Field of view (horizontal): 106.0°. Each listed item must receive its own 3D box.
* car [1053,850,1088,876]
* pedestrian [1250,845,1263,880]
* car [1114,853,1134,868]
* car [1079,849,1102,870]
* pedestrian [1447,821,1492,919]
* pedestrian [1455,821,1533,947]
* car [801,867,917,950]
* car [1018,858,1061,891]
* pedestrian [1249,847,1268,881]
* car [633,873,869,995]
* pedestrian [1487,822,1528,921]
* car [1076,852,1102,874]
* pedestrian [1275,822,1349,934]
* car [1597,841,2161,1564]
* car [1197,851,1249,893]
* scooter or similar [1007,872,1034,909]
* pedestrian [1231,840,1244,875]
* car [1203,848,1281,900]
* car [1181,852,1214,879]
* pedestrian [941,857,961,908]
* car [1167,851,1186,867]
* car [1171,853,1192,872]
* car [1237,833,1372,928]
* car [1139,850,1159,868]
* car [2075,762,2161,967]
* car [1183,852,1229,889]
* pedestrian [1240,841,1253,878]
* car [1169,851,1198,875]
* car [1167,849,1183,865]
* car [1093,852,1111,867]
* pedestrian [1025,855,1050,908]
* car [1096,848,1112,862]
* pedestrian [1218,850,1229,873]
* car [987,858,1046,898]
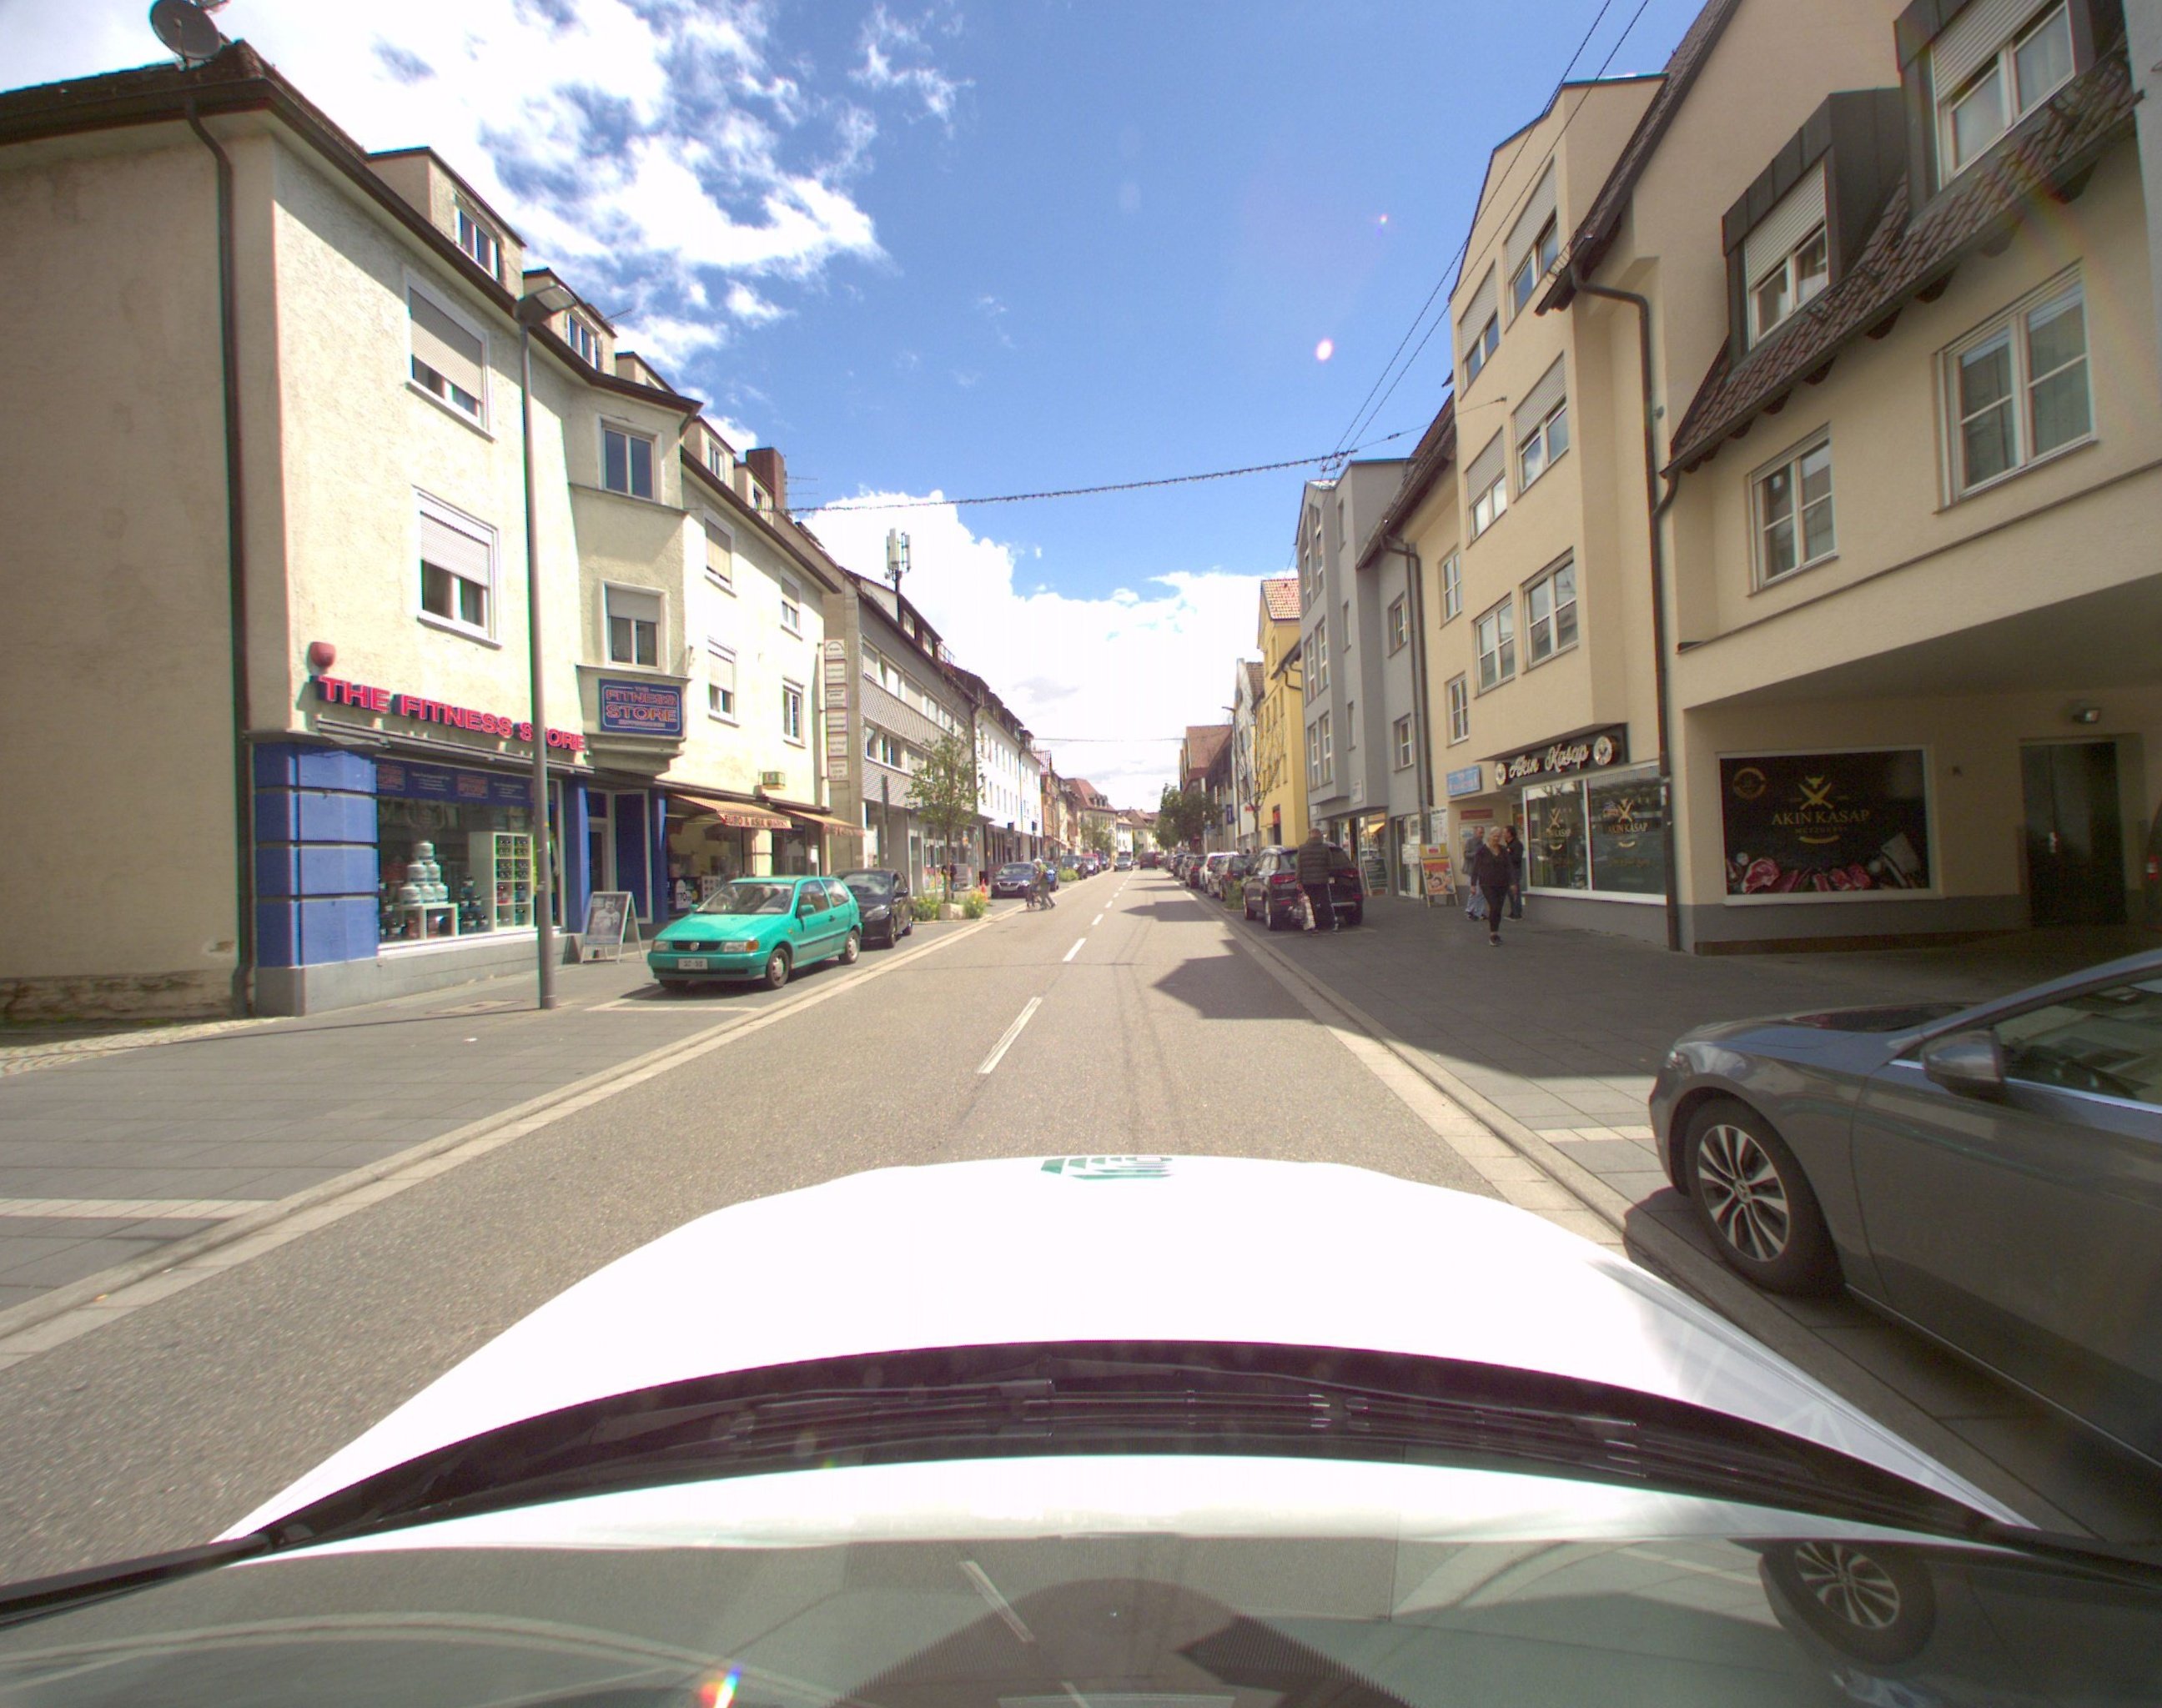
[{"bbox_3d":[-0.671,0.640,57.630,1.806,1.755,4.678,-1,-1,7],"label":"car"},{"bbox_3d":[9.440,0.447,43.839,0.585,1.841,0.577,-1,-1,5],"label":"pedestrian"},{"bbox_3d":[4.536,0.667,84.666,1.896,1.563,4.652,-1,-1,5],"label":"car"},{"bbox_3d":[0.939,0.554,78.534,1.807,1.889,4.848,-1,-1,5],"label":"car"},{"bbox_3d":[7.026,0.287,14.745,0.533,1.718,0.607,-1,-1,3],"label":"pedestrian"},{"bbox_3d":[5.886,0.423,11.641,0.740,1.718,0.656,-2,-1,3],"label":"pedestrian"},{"bbox_3d":[-4.280,0.985,16.171,1.594,1.446,3.550,0,-1,-5],"label":"car"},{"bbox_3d":[-1.993,0.987,40.255,1.783,1.503,4.179,-1,0,1],"label":"car"},{"bbox_3d":[8.575,0.482,39.333,0.746,1.553,0.727,-2,-1,4],"label":"pedestrian"},{"bbox_3d":[-4.442,1.002,11.590,1.578,1.414,3.674,-1,-1,6],"label":"car"},{"bbox_3d":[7.560,0.307,14.439,0.434,1.718,0.537,-1,-1,2],"label":"pedestrian"},{"bbox_3d":[0.736,0.784,70.647,1.807,1.755,4.471,-1,-1,6],"label":"car"},{"bbox_3d":[4.058,0.419,14.393,0.971,1.863,0.865,-4,-1,3],"label":"pedestrian"},{"bbox_3d":[2.959,0.676,1.502,1.698,1.420,4.327,-1,-1,7],"label":"car"},{"bbox_3d":[5.581,0.693,32.424,1.681,1.574,3.760,-1,-1,4],"label":"car"},{"bbox_3d":[-1.854,1.117,24.973,0.779,1.126,0.630,-1,-1,0],"label":"scooter or similar"},{"bbox_3d":[8.396,0.196,43.657,0.585,1.841,0.577,-1,-1,5],"label":"pedestrian"},{"bbox_3d":[5.134,0.615,26.493,1.683,1.440,4.297,-4,-1,1],"label":"car"},{"bbox_3d":[6.761,0.649,47.491,1.712,1.476,4.361,-1,-1,6],"label":"car"},{"bbox_3d":[-4.546,0.993,28.416,0.546,1.757,0.729,-1,-1,1],"label":"pedestrian"},{"bbox_3d":[9.027,0.502,76.814,1.712,1.494,4.116,-1,-1,6],"label":"car"},{"bbox_3d":[8.746,0.774,71.350,1.712,1.577,4.436,-1,-1,6],"label":"car"},{"bbox_3d":[4.450,0.469,16.870,1.792,1.603,4.208,-4,0,3],"label":"car"},{"bbox_3d":[7.406,0.548,88.896,2.032,1.848,5.003,-1,-1,3],"label":"car"},{"bbox_3d":[12.272,-0.060,7.164,4.327,1.932,1.957,-4,0,4],"label":"car"},{"bbox_3d":[5.605,0.684,36.855,1.682,1.472,4.529,-1,1,4],"label":"car"},{"bbox_3d":[8.289,0.287,40.792,0.585,1.841,0.577,-1,-1,5],"label":"pedestrian"},{"bbox_3d":[7.121,0.611,56.677,1.714,1.577,4.112,-1,-1,3],"label":"car"},{"bbox_3d":[10.149,0.317,87.667,1.601,1.532,3.801,-3,0,6],"label":"car"},{"bbox_3d":[2.383,0.576,91.197,1.791,1.598,4.395,-2,0,5],"label":"car"},{"bbox_3d":[-1.329,0.839,24.984,0.729,1.618,0.651,-1,-1,0],"label":"pedestrian"},{"bbox_3d":[2.764,0.137,96.840,1.793,1.604,4.353,-2,0,2],"label":"car"},{"bbox_3d":[10.695,0.577,61.145,0.738,1.737,0.758,-1,-1,5],"label":"pedestrian"},{"bbox_3d":[-2.665,0.961,34.709,1.782,1.513,4.718,-1,0,4],"label":"car"}]
